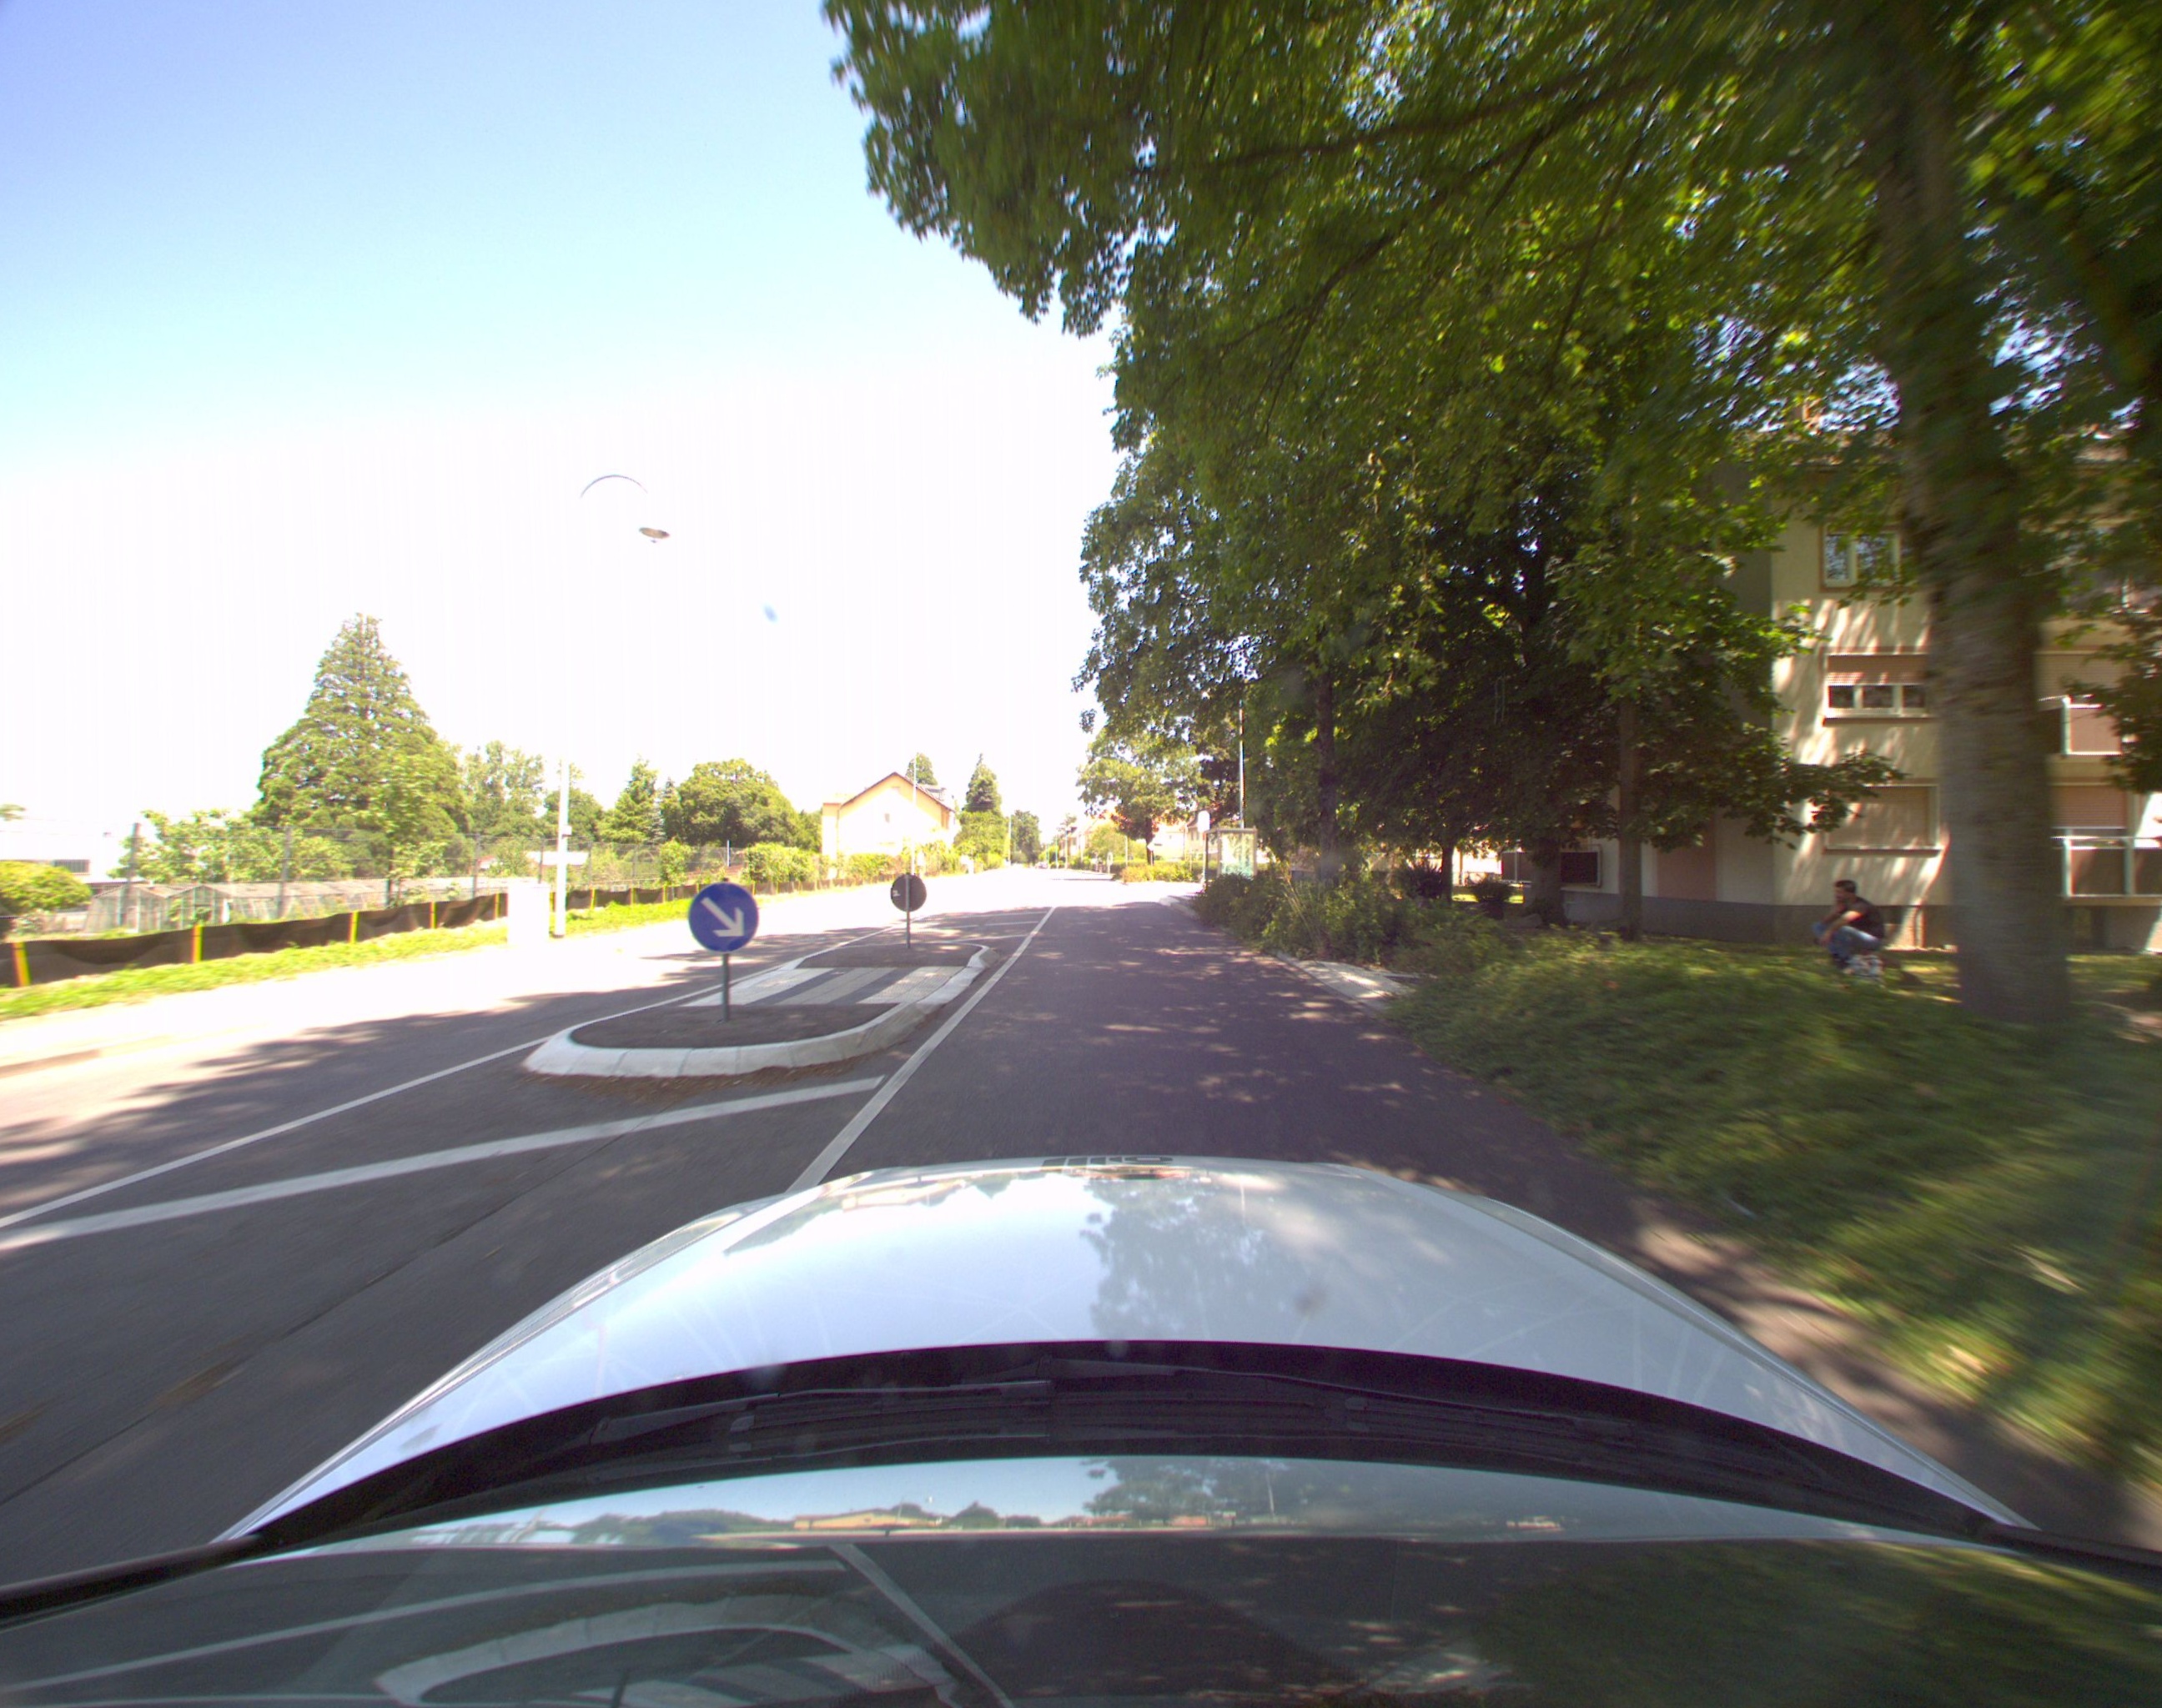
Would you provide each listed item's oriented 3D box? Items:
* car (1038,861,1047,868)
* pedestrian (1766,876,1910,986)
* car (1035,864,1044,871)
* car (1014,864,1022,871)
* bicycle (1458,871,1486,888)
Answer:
[{"bbox_3d":[-8.602,2.364,182.316,1.690,1.419,4.540,1,-2,-6],"label":"car"},{"bbox_3d":[9.620,0.942,10.409,0.932,1.293,1.073,0,-1,13],"label":"pedestrian"},{"bbox_3d":[-9.790,3.231,191.653,1.690,1.419,4.540,1,-2,-6],"label":"car"},{"bbox_3d":[-13.911,3.010,180.076,1.677,1.372,4.200,-1,0,-4],"label":"car"},{"bbox_3d":[24.917,1.621,51.901,0.720,1.066,2.185,1,-1,0],"label":"bicycle"}]
